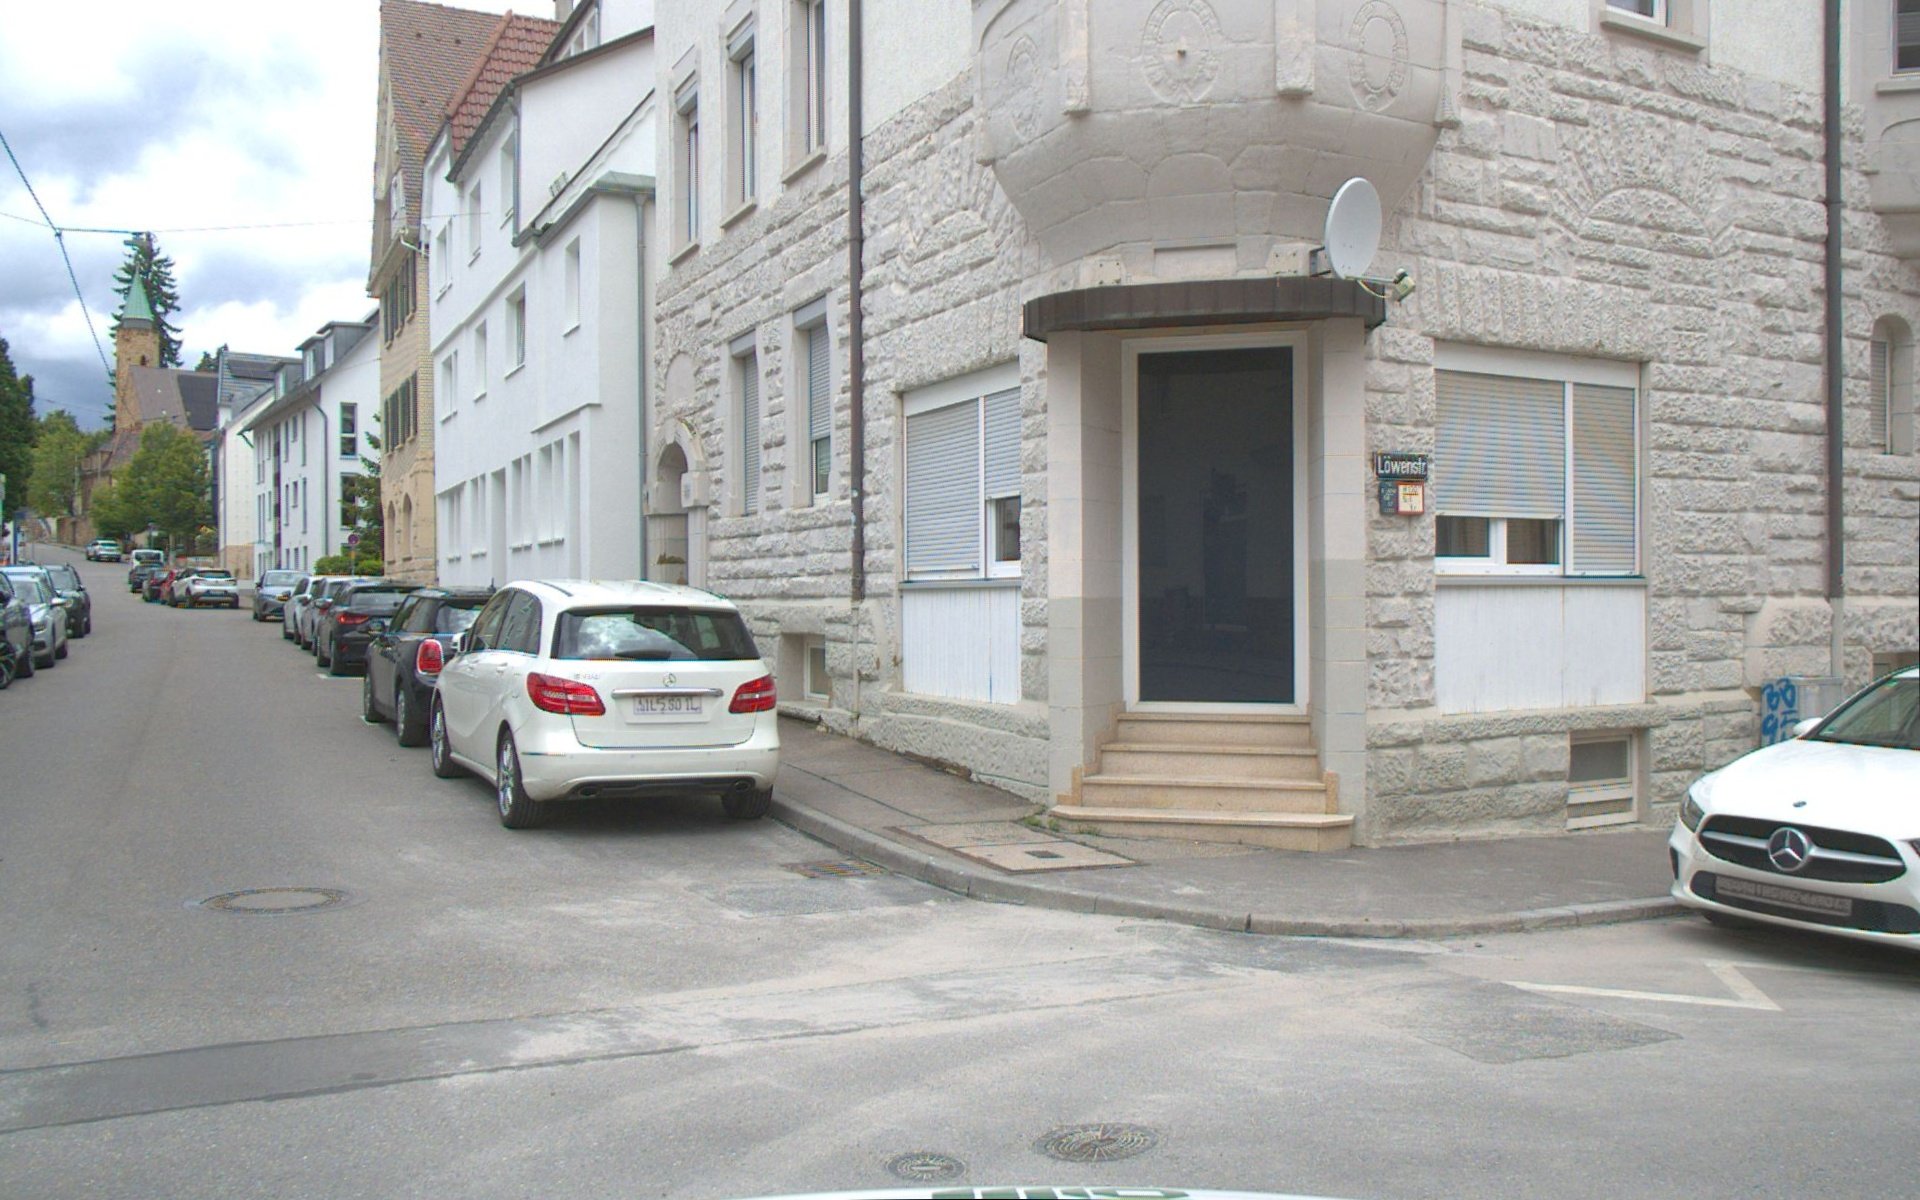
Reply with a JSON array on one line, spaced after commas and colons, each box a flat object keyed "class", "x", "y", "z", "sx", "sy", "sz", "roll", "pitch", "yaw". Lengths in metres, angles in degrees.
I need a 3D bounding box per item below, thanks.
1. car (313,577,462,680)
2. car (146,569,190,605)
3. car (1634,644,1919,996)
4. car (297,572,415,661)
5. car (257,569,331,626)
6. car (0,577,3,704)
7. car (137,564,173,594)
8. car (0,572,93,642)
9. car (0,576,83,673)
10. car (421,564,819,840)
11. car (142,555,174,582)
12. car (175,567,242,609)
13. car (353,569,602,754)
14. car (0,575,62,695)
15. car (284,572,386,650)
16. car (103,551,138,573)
[{"class": "car", "x": -8.976, "y": 0.397, "z": 25.740, "sx": 1.648, "sy": 1.409, "sz": 3.993, "roll": 2, "pitch": 1, "yaw": -27}, {"class": "car", "x": -34.687, "y": -0.583, "z": 72.423, "sx": 1.648, "sy": 1.505, "sz": 3.594, "roll": 0, "pitch": 1, "yaw": -27}, {"class": "car", "x": 5.511, "y": 1.001, "z": 8.535, "sx": 4.187, "sy": 1.439, "sz": 1.685, "roll": 2, "pitch": -1, "yaw": -33}, {"class": "car", "x": -11.466, "y": 0.279, "z": 31.277, "sx": 1.648, "sy": 1.505, "sz": 3.594, "roll": 2, "pitch": 1, "yaw": -27}, {"class": "car", "x": -19.083, "y": -0.096, "z": 47.315, "sx": 1.648, "sy": 1.505, "sz": 3.594, "roll": 2, "pitch": 1, "yaw": -27}, {"class": "car", "x": -11.587, "y": 0.519, "z": 18.013, "sx": 1.709, "sy": 1.515, "sz": 3.688, "roll": -1, "pitch": 1, "yaw": -26}, {"class": "car", "x": -42.532, "y": -1.128, "z": 87.325, "sx": 1.648, "sy": 1.505, "sz": 3.594, "roll": 0, "pitch": 1, "yaw": -27}, {"class": "car", "x": -20.516, "y": 0.119, "z": 37.159, "sx": 1.709, "sy": 1.473, "sz": 3.688, "roll": -1, "pitch": 1, "yaw": -26}, {"class": "car", "x": -15.415, "y": 0.355, "z": 27.059, "sx": 1.709, "sy": 1.473, "sz": 3.688, "roll": -1, "pitch": 1, "yaw": -26}, {"class": "car", "x": -2.613, "y": 0.595, "z": 11.933, "sx": 1.798, "sy": 1.627, "sz": 3.992, "roll": 2, "pitch": 0, "yaw": -27}, {"class": "car", "x": -47.314, "y": -1.860, "z": 97.562, "sx": 1.648, "sy": 1.505, "sz": 3.594, "roll": 0, "pitch": 1, "yaw": -27}, {"class": "car", "x": -28.662, "y": -0.467, "z": 63.049, "sx": 1.768, "sy": 1.505, "sz": 3.583, "roll": 0, "pitch": 1, "yaw": -34}, {"class": "car", "x": -4.909, "y": 0.522, "z": 16.466, "sx": 1.648, "sy": 1.559, "sz": 3.993, "roll": 2, "pitch": 1, "yaw": -27}, {"class": "car", "x": -13.359, "y": 0.428, "z": 22.339, "sx": 1.706, "sy": 1.495, "sz": 3.695, "roll": -1, "pitch": 1, "yaw": -22}, {"class": "car", "x": -13.489, "y": 0.212, "z": 35.578, "sx": 1.648, "sy": 1.505, "sz": 3.594, "roll": 2, "pitch": 1, "yaw": -27}, {"class": "car", "x": -66.732, "y": -3.020, "z": 131.425, "sx": 2.161, "sy": 1.723, "sz": 3.587, "roll": 0, "pitch": 1, "yaw": -32}]
